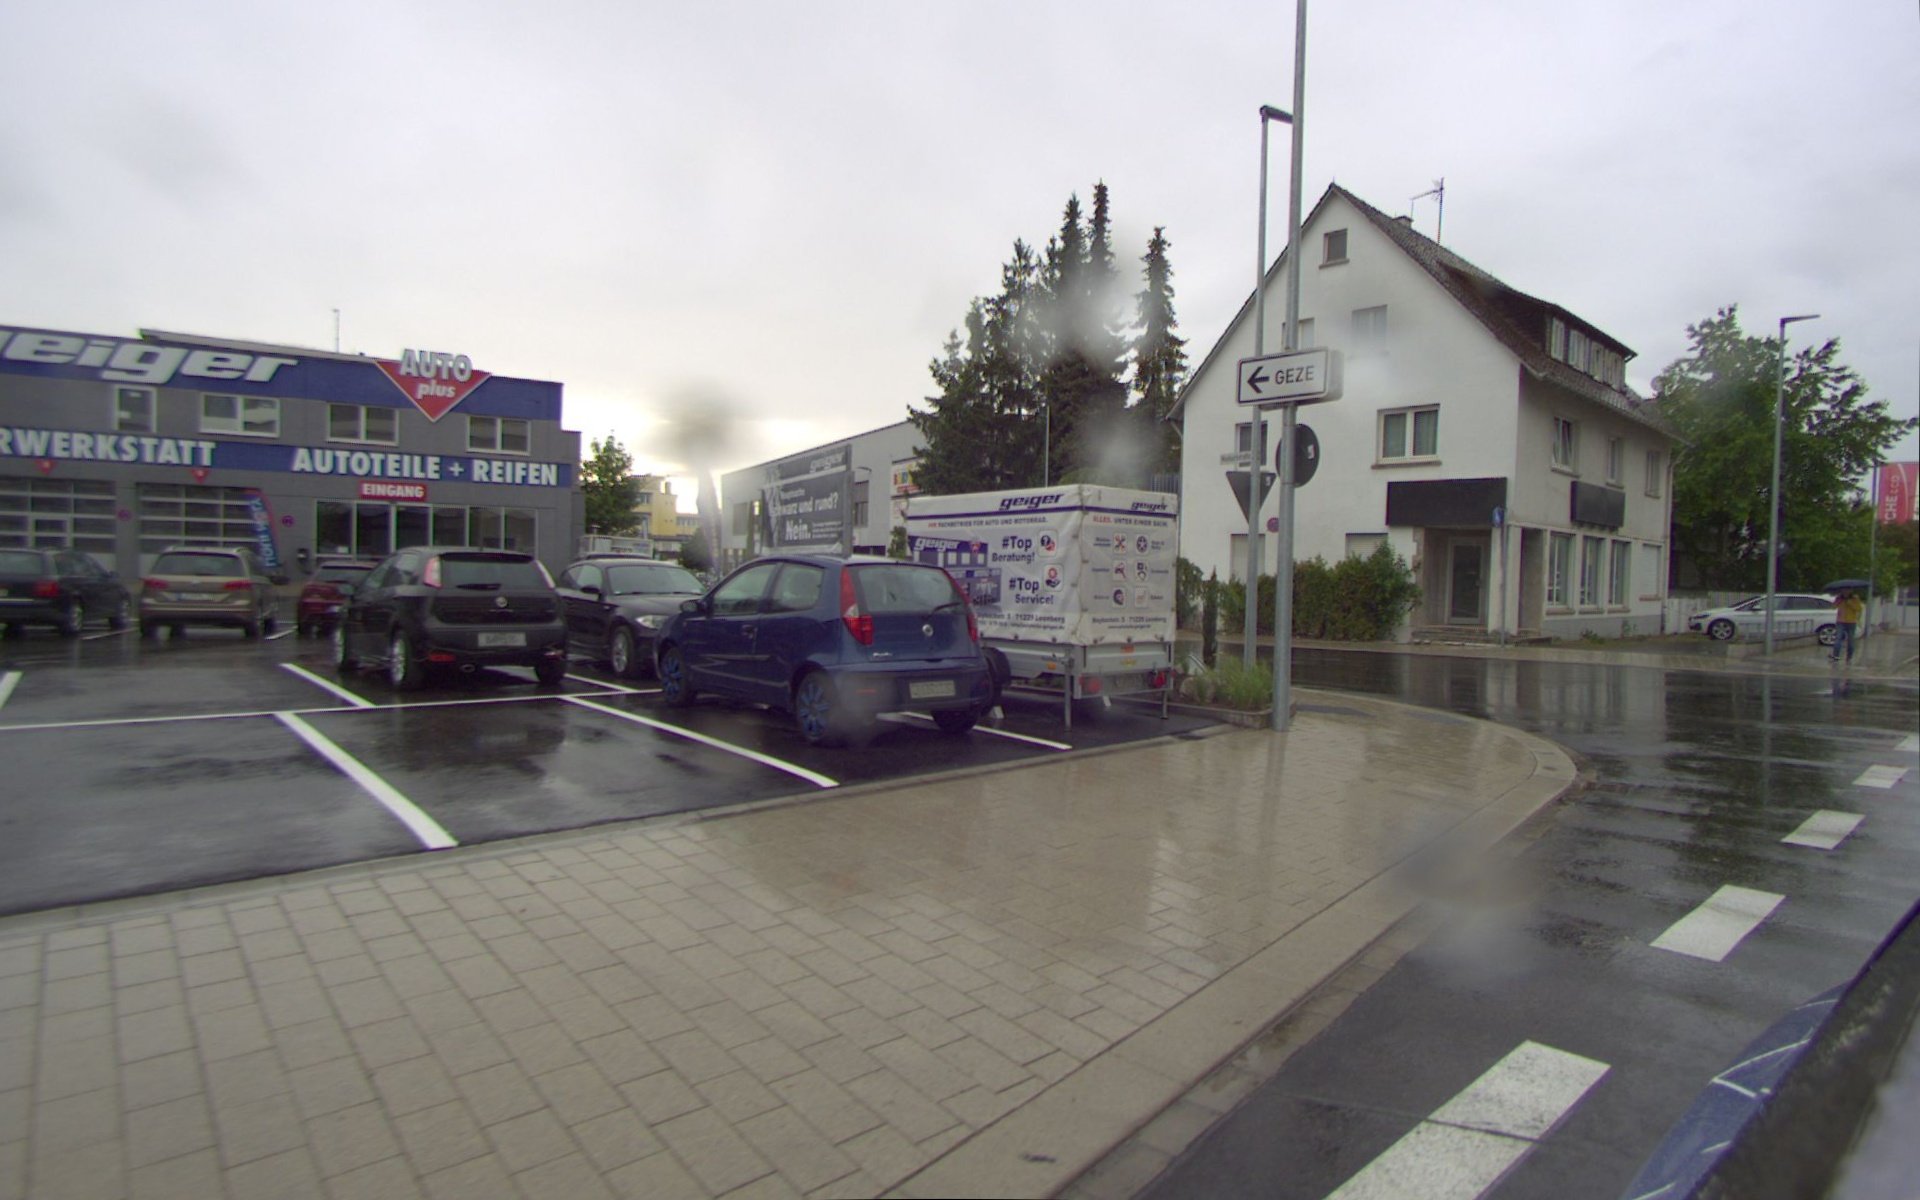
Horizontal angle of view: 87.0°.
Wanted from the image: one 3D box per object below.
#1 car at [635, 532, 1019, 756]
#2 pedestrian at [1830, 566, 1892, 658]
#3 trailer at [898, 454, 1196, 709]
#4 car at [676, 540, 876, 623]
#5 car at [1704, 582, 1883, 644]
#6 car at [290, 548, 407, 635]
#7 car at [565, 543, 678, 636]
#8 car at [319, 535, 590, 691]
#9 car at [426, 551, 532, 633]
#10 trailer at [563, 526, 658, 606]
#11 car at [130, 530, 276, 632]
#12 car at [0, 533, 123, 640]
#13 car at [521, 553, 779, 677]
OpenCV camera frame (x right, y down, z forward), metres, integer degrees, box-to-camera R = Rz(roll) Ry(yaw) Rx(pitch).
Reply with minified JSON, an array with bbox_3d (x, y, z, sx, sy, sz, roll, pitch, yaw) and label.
[{"bbox_3d":[-1.363,0.207,9.070,1.621,1.547,3.734,-1,4,-41],"label":"car"},{"bbox_3d":[21.044,0.270,23.641,1.175,2.038,0.860,1,4,-43],"label":"pedestrian"},{"bbox_3d":[0.795,-0.199,10.260,1.520,2.198,2.708,1,1,-39],"label":"trailer"},{"bbox_3d":[-4.472,-0.437,24.813,4.402,1.851,1.896,1,2,-32],"label":"car"},{"bbox_3d":[26.289,0.364,32.143,4.117,1.599,1.975,5,3,35],"label":"car"},{"bbox_3d":[-12.389,-0.231,20.503,1.828,1.515,4.145,1,3,-32],"label":"car"},{"bbox_3d":[-7.723,-0.308,22.801,1.854,1.851,4.500,1,3,-25],"label":"car"},{"bbox_3d":[-5.841,0.045,11.493,1.702,1.467,3.729,0,2,-44],"label":"car"},{"bbox_3d":[-10.259,-0.231,21.555,1.827,1.515,4.149,1,3,-26],"label":"car"},{"bbox_3d":[-13.748,-1.249,39.535,2.875,2.770,5.898,-2,-1,-25],"label":"trailer"},{"bbox_3d":[-14.071,-0.416,19.026,1.828,1.687,4.145,1,3,-32],"label":"car"},{"bbox_3d":[-16.004,-0.305,17.446,1.828,1.602,4.374,1,3,-32],"label":"car"},{"bbox_3d":[-4.100,0.100,13.059,1.665,1.331,3.729,0,2,-44],"label":"car"}]
